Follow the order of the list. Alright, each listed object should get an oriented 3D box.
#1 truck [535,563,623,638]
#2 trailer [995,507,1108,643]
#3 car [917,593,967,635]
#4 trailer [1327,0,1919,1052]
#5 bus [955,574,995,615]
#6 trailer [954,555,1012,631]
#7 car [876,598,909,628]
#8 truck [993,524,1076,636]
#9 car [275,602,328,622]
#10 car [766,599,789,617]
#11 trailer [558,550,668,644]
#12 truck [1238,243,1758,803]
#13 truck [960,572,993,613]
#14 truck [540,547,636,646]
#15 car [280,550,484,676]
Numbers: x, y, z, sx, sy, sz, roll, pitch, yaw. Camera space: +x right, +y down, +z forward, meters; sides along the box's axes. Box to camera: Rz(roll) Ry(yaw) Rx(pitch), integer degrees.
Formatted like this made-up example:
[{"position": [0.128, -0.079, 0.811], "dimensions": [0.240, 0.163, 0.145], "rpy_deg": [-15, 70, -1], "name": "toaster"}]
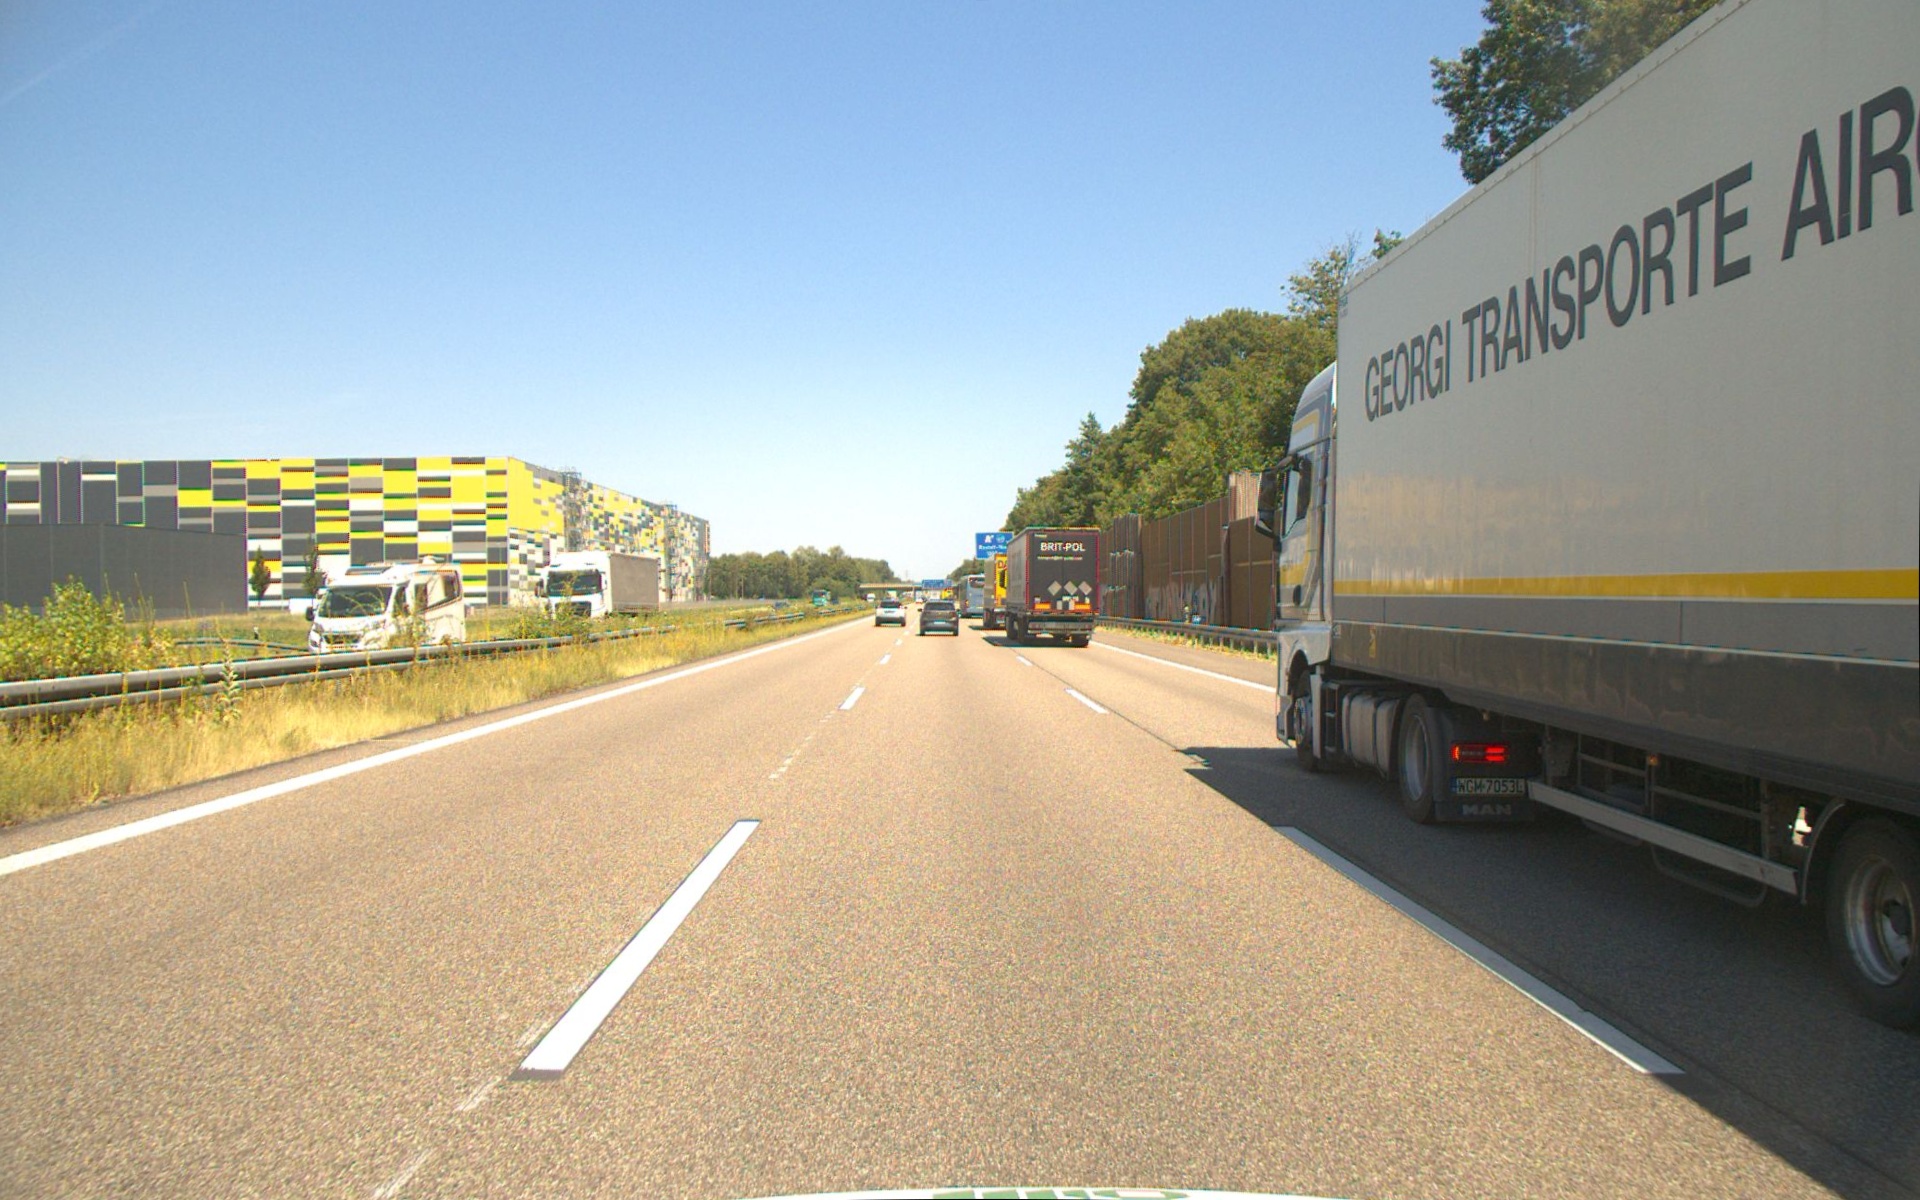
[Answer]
[{"position": [-22.073, 0.022, 96.477], "dimensions": [2.595, 3.952, 10.824], "rpy_deg": [-3, 0, -1], "name": "truck"}, {"position": [3.245, -0.818, 63.319], "dimensions": [3.043, 4.585, 14.890], "rpy_deg": [1, 0, -2], "name": "trailer"}, {"position": [-0.848, 0.630, 75.338], "dimensions": [2.171, 1.821, 5.392], "rpy_deg": [-1, 0, -1], "name": "car"}, {"position": [4.669, -0.651, 7.045], "dimensions": [2.933, 4.364, 13.414], "rpy_deg": [1, 0, -1], "name": "trailer"}, {"position": [1.243, -0.460, 144.077], "dimensions": [3.001, 3.385, 8.270], "rpy_deg": [-1, 0, -2], "name": "bus"}, {"position": [1.192, -0.381, 93.188], "dimensions": [2.777, 4.023, 11.680], "rpy_deg": [0, 0, -1], "name": "trailer"}, {"position": [-3.977, 0.756, 98.016], "dimensions": [1.953, 1.758, 4.129], "rpy_deg": [0, 0, -2], "name": "car"}, {"position": [3.065, -0.789, 70.098], "dimensions": [3.025, 4.518, 6.050], "rpy_deg": [0, 0, -2], "name": "truck"}, {"position": [-77.475, 1.455, 194.673], "dimensions": [5.541, 2.216, 2.084], "rpy_deg": [-1, 0, -34], "name": "car"}, {"position": [-19.843, 0.883, 179.763], "dimensions": [1.953, 1.709, 5.550], "rpy_deg": [-2, -1, -1], "name": "car"}, {"position": [-17.950, -0.107, 86.573], "dimensions": [3.131, 4.500, 13.322], "rpy_deg": [-1, 0, -1], "name": "trailer"}, {"position": [4.495, -0.560, 15.066], "dimensions": [2.942, 4.197, 5.251], "rpy_deg": [0, 0, -1], "name": "truck"}, {"position": [1.759, -0.792, 179.773], "dimensions": [3.353, 4.198, 9.563], "rpy_deg": [-1, 0, 0], "name": "truck"}, {"position": [-17.800, -0.163, 79.651], "dimensions": [3.097, 4.503, 6.979], "rpy_deg": [-1, 0, -1], "name": "truck"}, {"position": [-15.228, 0.307, 44.258], "dimensions": [2.494, 3.034, 8.084], "rpy_deg": [-1, 0, 1], "name": "car"}]
